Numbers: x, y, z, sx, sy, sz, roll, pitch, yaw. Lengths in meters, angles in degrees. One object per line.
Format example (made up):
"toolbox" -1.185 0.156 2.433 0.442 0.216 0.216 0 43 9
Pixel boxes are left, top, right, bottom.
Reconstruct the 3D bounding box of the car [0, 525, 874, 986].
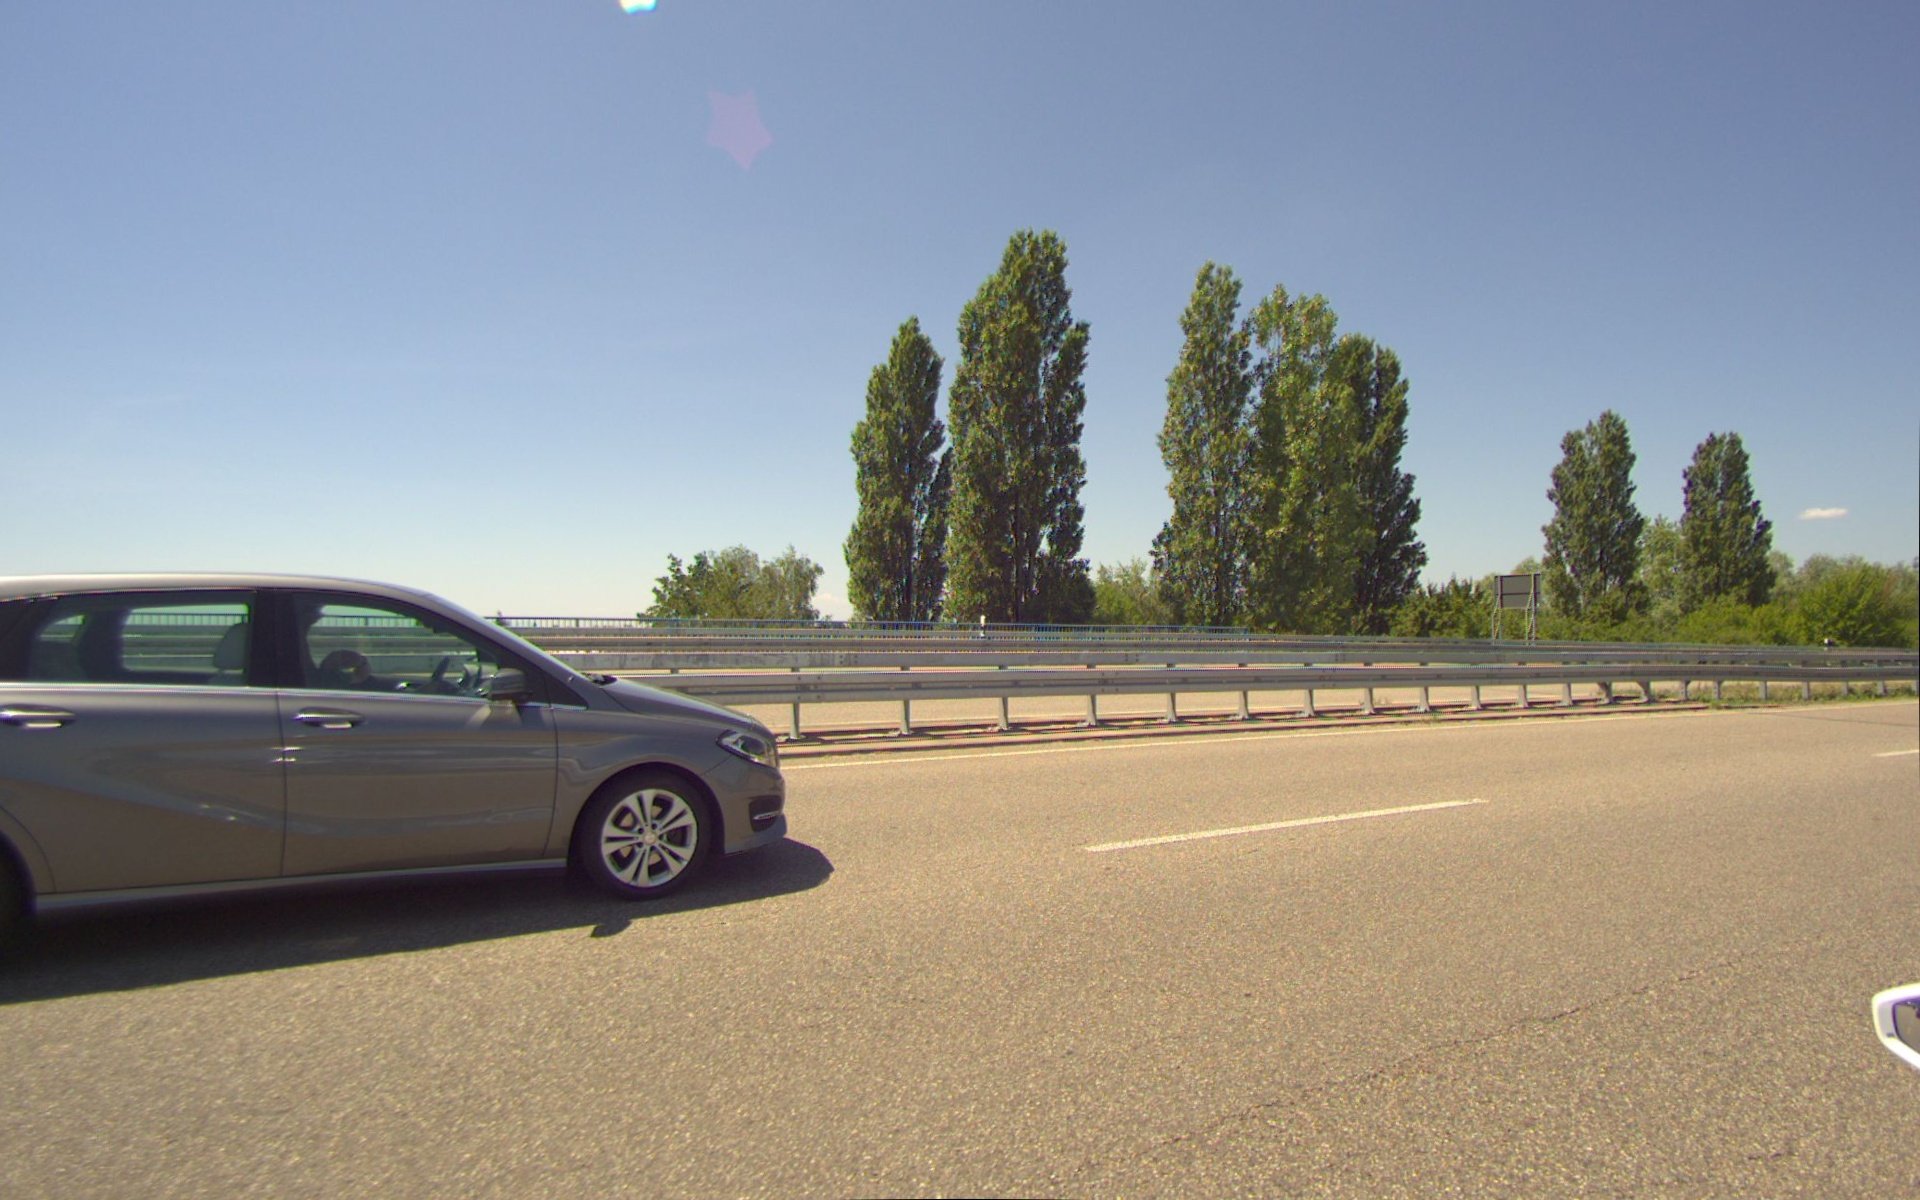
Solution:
"car" -2.859 0.625 5.091 4.499 1.689 1.785 2 -2 -29
